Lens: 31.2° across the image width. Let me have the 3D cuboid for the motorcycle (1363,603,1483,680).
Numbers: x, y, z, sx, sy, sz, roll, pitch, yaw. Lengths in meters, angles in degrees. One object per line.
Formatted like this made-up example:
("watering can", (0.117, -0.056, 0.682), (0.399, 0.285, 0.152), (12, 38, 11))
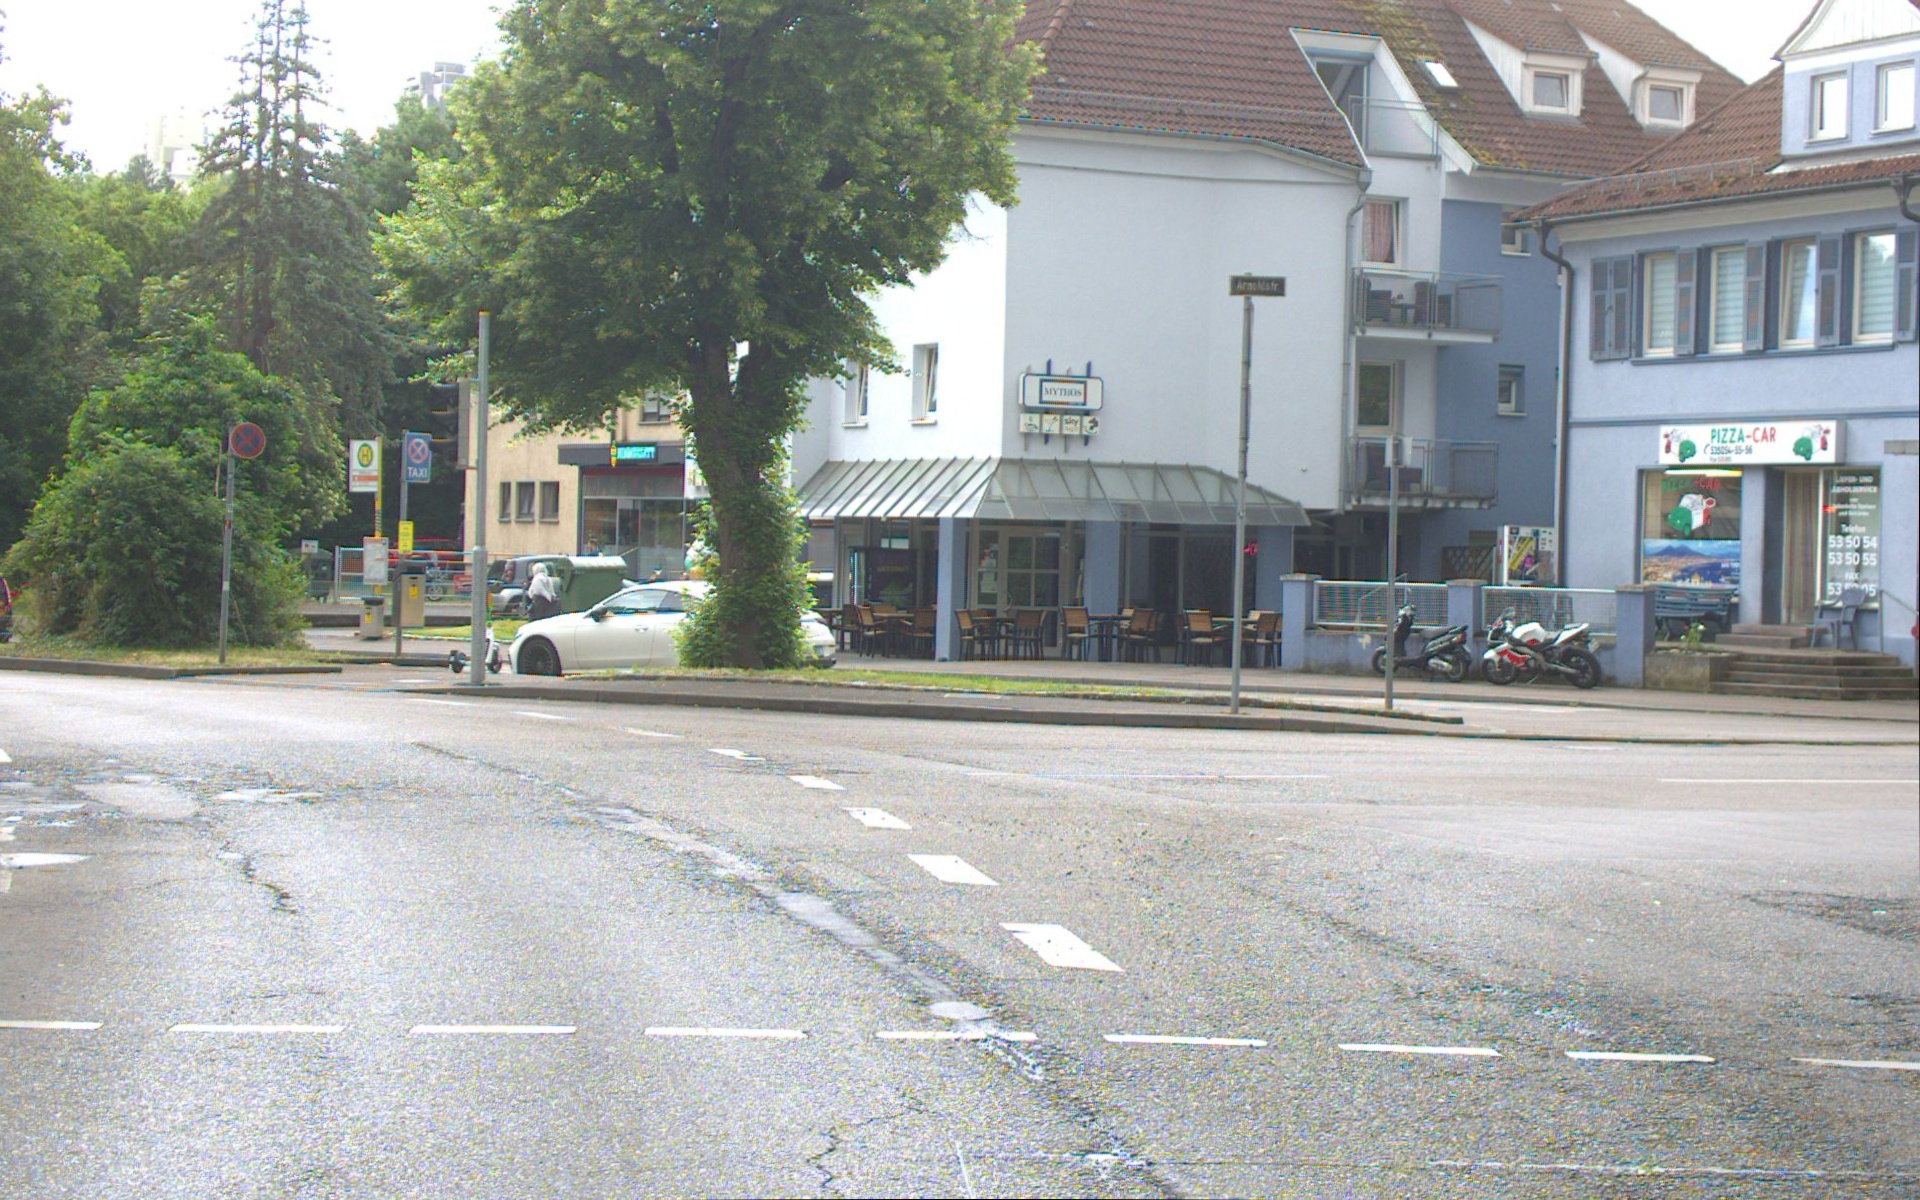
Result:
("motorcycle", (6.747, 0.598, 50.159), (1.636, 1.060, 0.693), (2, 1, 44))

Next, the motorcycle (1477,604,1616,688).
("motorcycle", (8.253, 0.635, 48.380), (1.798, 1.118, 0.693), (2, 1, 38))

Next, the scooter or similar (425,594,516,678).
("scooter or similar", (-6.063, 0.433, 42.649), (0.417, 1.008, 1.565), (1, 1, 20))

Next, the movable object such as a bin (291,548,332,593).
("movable object such as a bin", (-16.251, -0.729, 86.167), (0.950, 1.111, 0.383), (1, 1, -21))

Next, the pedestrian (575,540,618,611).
("pedestrian", (-7.929, -0.539, 74.964), (0.705, 1.539, 0.678), (1, 1, -27))

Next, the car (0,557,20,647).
("car", (-16.518, -0.012, 53.721), (3.590, 1.389, 1.469), (2, 1, 32))

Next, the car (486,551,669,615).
("car", (-8.429, -0.363, 75.871), (3.733, 1.340, 1.434), (1, 1, -26))

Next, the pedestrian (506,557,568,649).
("pedestrian", (-7.201, 0.045, 58.557), (0.768, 1.539, 0.677), (1, 1, 39))

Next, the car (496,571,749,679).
("car", (-4.535, 0.317, 46.042), (3.171, 1.350, 1.436), (2, 1, 35))

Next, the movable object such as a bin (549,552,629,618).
("movable object such as a bin", (-7.987, -0.322, 73.974), (1.440, 1.404, 0.967), (1, 1, -27))
